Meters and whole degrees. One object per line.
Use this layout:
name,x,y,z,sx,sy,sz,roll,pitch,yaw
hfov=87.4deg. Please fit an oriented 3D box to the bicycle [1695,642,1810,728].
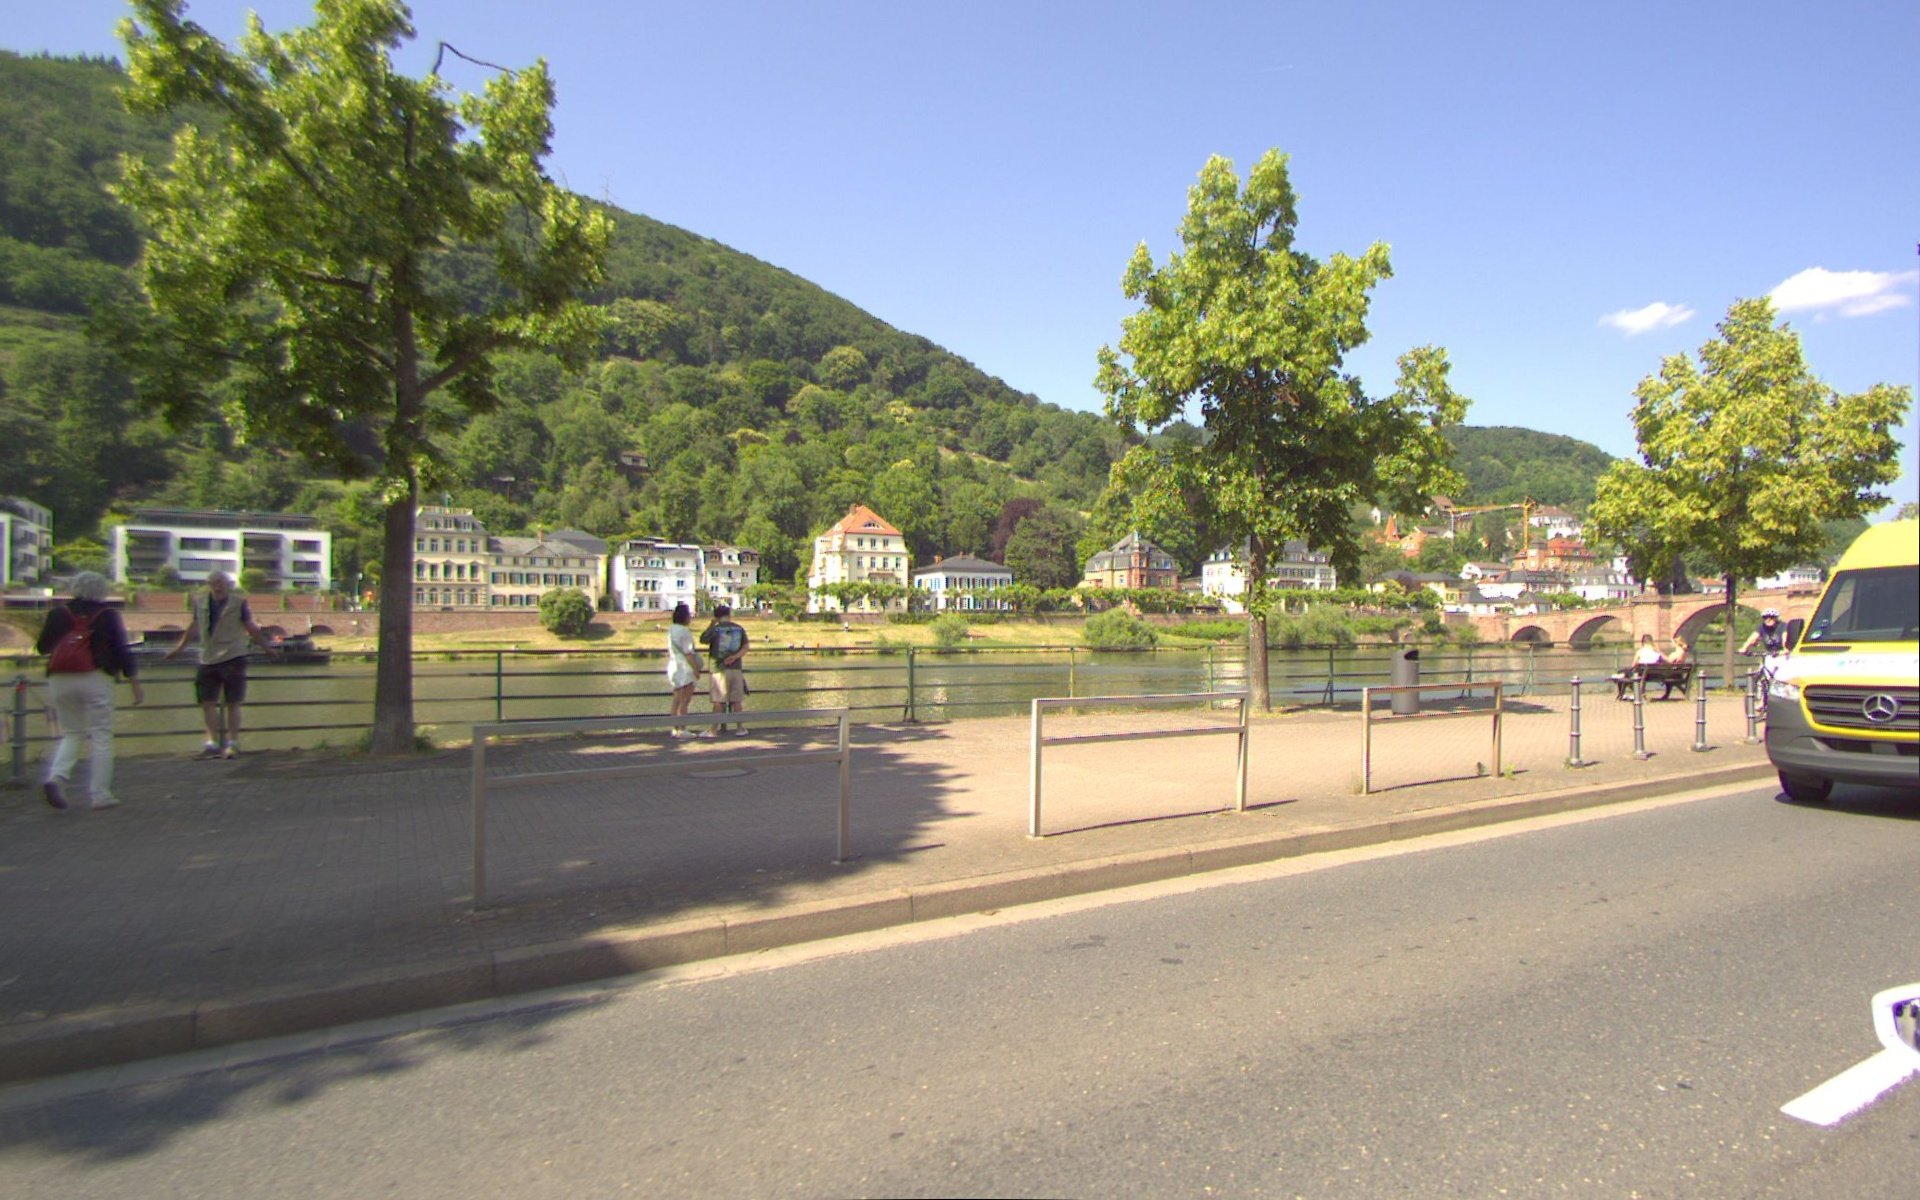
bicycle,12.045,1.257,15.258,1.873,1.184,0.708,0,-2,-30

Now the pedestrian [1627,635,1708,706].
pedestrian,13.396,1.320,19.032,0.837,1.297,0.935,1,-3,-22

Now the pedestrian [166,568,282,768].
pedestrian,-7.597,0.689,10.409,0.877,1.970,0.690,1,-3,-32

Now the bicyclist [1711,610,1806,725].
bicyclist,12.194,1.012,15.345,1.076,1.689,0.737,0,-2,-30

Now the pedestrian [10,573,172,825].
pedestrian,-6.256,0.674,7.275,0.649,1.705,0.754,1,0,-22

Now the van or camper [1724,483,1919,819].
van or camper,10.279,0.456,9.741,7.010,2.590,2.077,1,-2,-31

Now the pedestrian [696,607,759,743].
pedestrian,-2.905,0.919,12.532,0.654,1.637,0.692,1,-2,-24

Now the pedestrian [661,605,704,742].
pedestrian,-3.373,0.886,12.189,0.444,1.618,0.413,1,-2,-24

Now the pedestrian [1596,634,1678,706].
pedestrian,12.570,1.288,18.676,0.837,1.297,0.935,1,-3,-22
